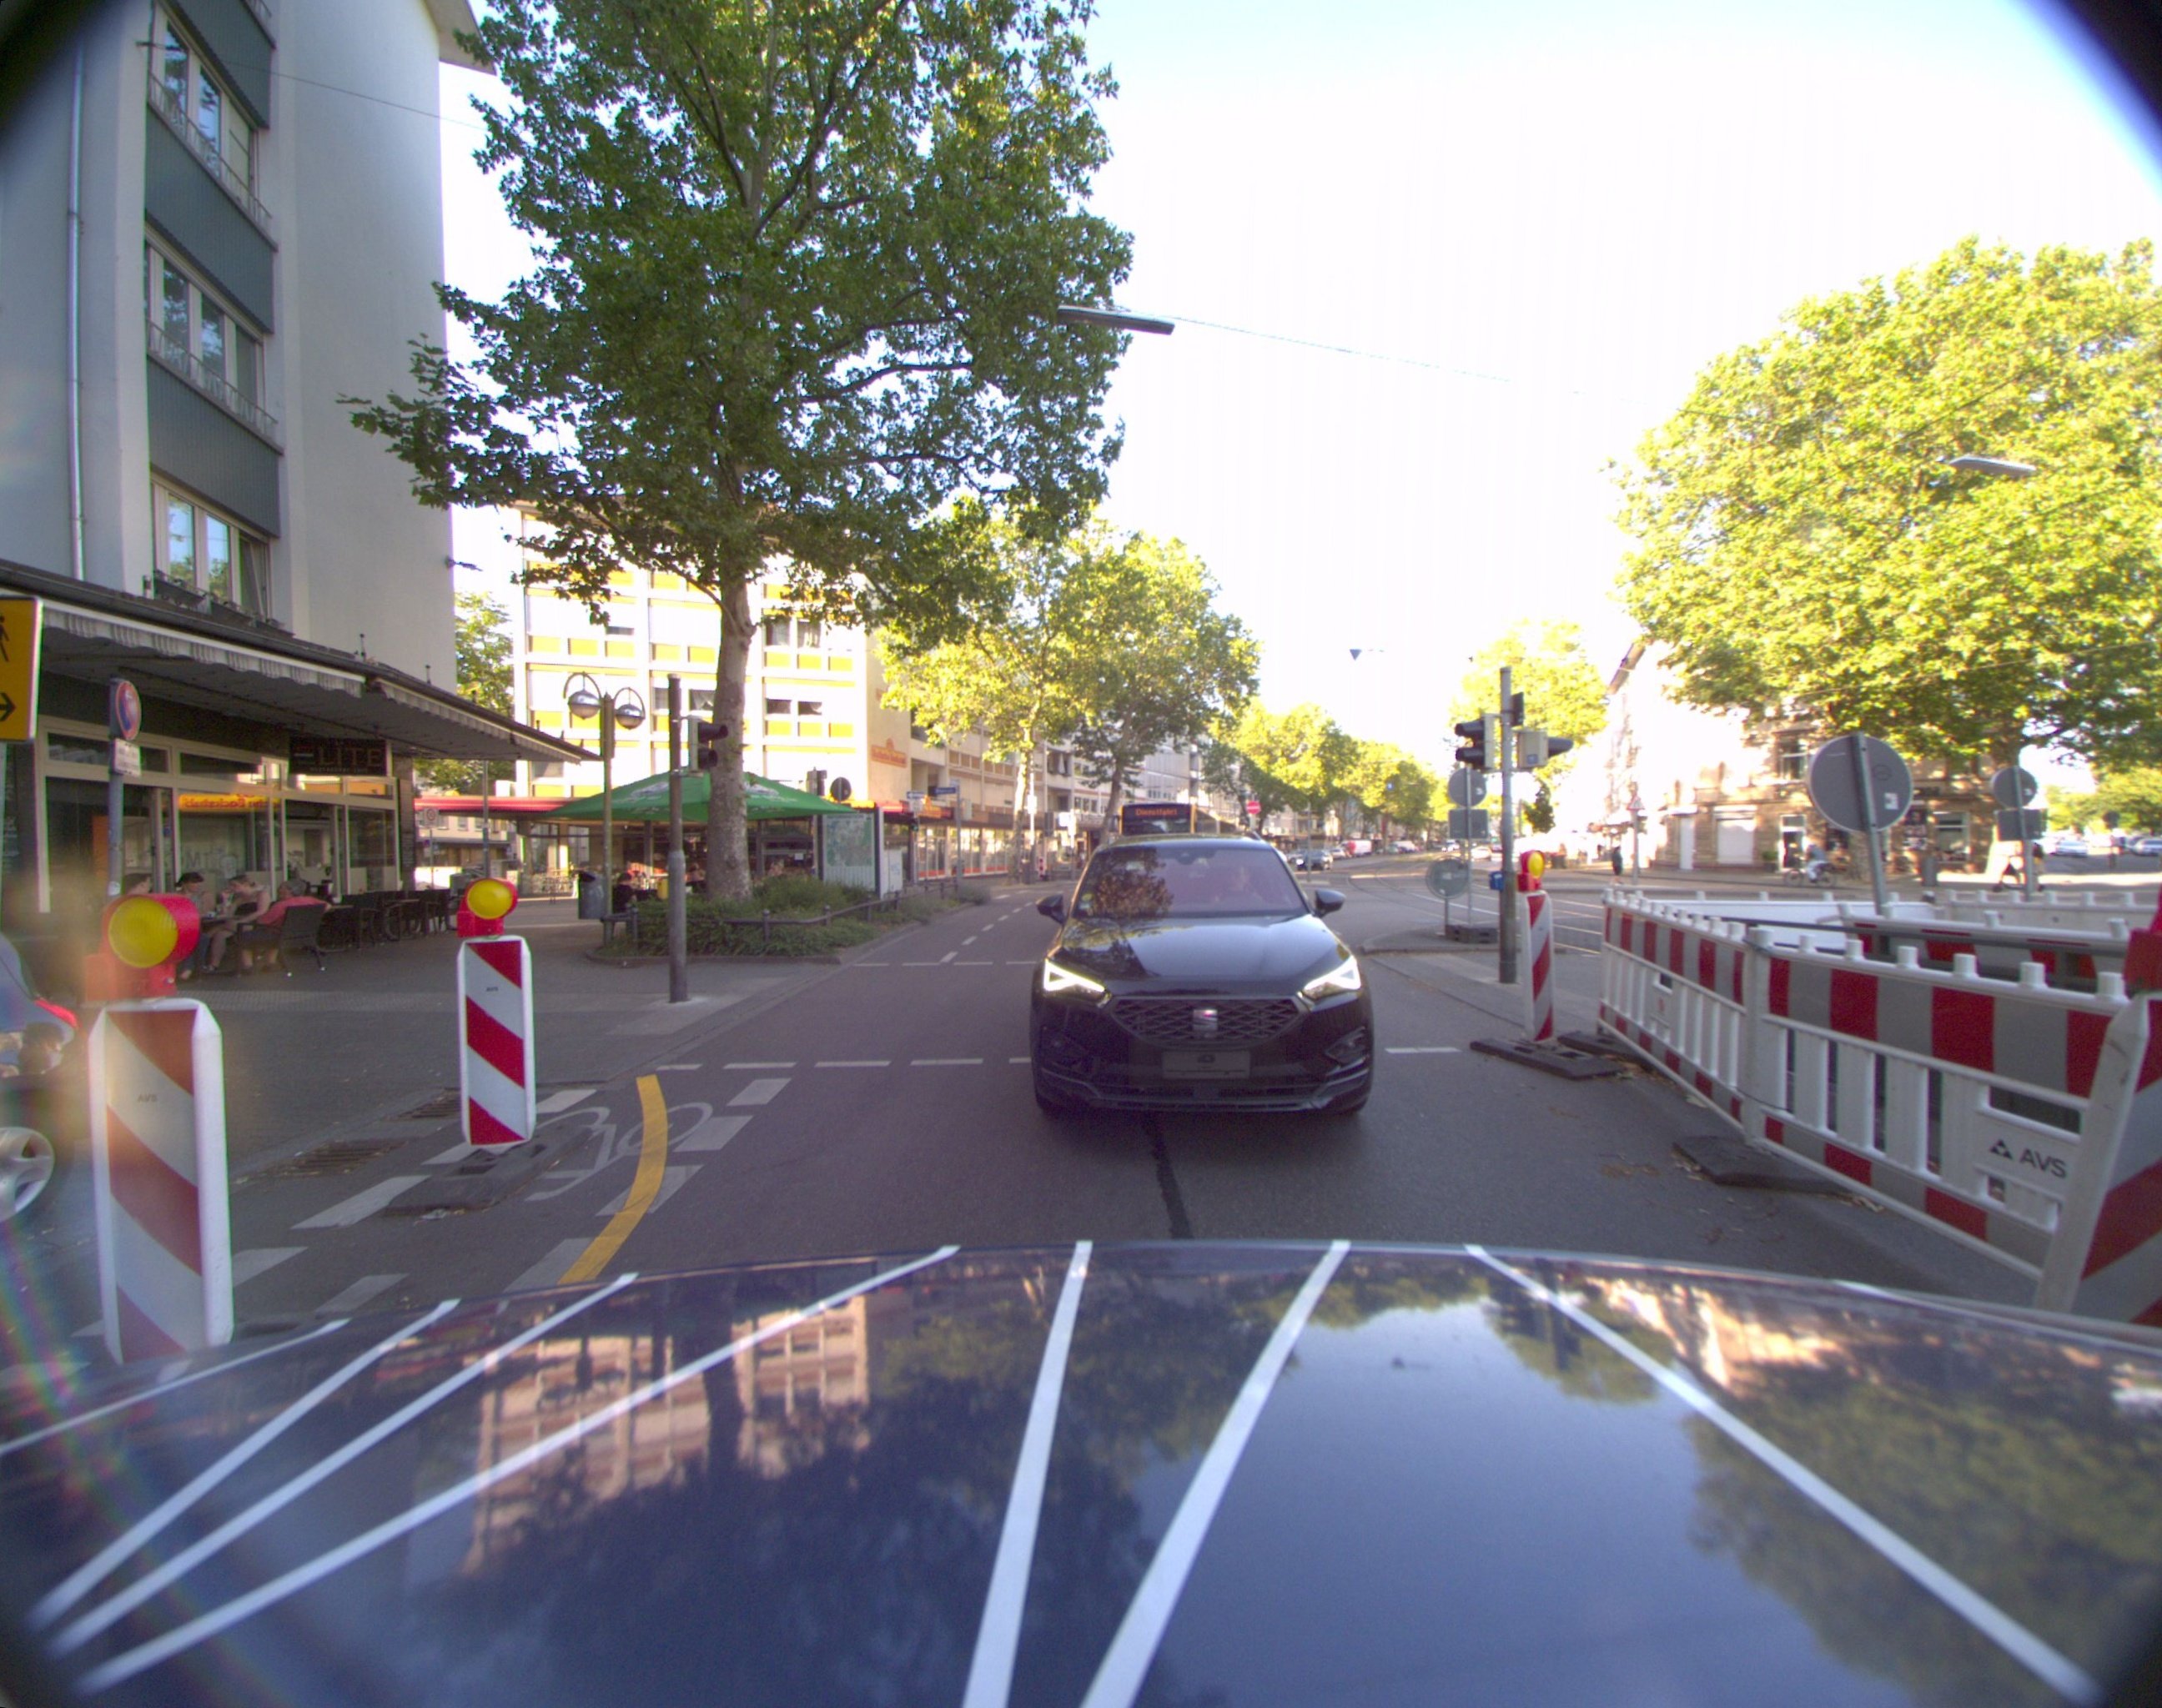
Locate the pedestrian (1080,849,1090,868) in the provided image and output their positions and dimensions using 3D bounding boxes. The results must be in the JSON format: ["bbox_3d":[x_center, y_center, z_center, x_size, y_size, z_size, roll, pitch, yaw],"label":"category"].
[{"bbox_3d":[0.291,0.355,57.811,0.627,1.429,0.532,0,1,20],"label":"pedestrian"}]

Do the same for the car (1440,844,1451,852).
[{"bbox_3d":[81.564,-1.424,170.052,1.836,1.692,4.138,0,1,31],"label":"car"}]

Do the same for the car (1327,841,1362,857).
[{"bbox_3d":[34.073,-0.652,98.336,3.994,2.002,2.001,-1,1,8],"label":"car"}]

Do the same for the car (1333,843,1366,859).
[{"bbox_3d":[36.433,-0.402,103.198,3.994,2.002,2.001,-1,1,8],"label":"car"}]

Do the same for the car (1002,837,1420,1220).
[{"bbox_3d":[0.605,0.761,5.369,1.841,1.696,4.000,-1,1,1],"label":"car"}]

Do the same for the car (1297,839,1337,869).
[{"bbox_3d":[16.546,-0.030,53.217,1.995,2.002,4.007,0,1,27],"label":"car"}]

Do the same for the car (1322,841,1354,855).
[{"bbox_3d":[36.421,-0.833,107.598,3.994,2.002,2.001,-1,1,8],"label":"car"}]

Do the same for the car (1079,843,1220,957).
[{"bbox_3d":[1.010,0.643,12.946,1.998,1.634,4.075,-1,1,1],"label":"car"}]

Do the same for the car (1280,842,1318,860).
[{"bbox_3d":[24.399,-0.359,85.136,3.991,2.002,2.003,0,1,18],"label":"car"}]

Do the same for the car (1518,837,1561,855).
[{"bbox_3d":[52.447,-0.944,86.896,4.001,2.002,1.997,-1,1,-13],"label":"car"}]

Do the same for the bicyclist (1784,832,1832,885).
[{"bbox_3d":[27.614,0.166,28.872,0.855,2.002,0.983,-1,1,0],"label":"bicyclist"}]

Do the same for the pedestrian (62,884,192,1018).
[{"bbox_3d":[-10.142,0.989,8.085,0.789,1.299,0.701,0,1,28],"label":"pedestrian"}]

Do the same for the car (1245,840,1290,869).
[{"bbox_3d":[13.513,0.029,54.891,1.994,2.002,4.008,0,1,33],"label":"car"}]

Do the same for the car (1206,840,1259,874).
[{"bbox_3d":[9.223,0.155,46.011,1.995,2.002,4.105,0,1,29],"label":"car"}]

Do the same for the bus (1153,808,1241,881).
[{"bbox_3d":[5.808,-0.433,36.723,2.717,3.088,8.608,0,1,19],"label":"bus"}]

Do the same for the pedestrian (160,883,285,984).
[{"bbox_3d":[-10.814,0.977,9.599,0.647,1.186,0.792,0,1,7],"label":"pedestrian"}]

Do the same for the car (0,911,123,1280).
[{"bbox_3d":[-5.228,0.991,1.645,1.771,1.459,3.610,2,0,-2],"label":"car"}]

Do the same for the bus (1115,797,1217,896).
[{"bbox_3d":[3.411,-0.286,28.197,2.718,3.088,8.629,0,1,13],"label":"bus"}]

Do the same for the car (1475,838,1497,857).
[{"bbox_3d":[43.179,-0.718,81.050,1.994,2.002,4.007,0,1,29],"label":"car"}]

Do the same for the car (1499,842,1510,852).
[{"bbox_3d":[76.485,-1.298,137.291,1.686,1.841,4.007,0,1,29],"label":"car"}]

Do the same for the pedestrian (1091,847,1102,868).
[{"bbox_3d":[1.183,0.260,57.552,0.627,1.577,0.532,0,1,20],"label":"pedestrian"}]

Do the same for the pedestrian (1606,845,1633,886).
[{"bbox_3d":[20.297,0.437,28.646,0.603,1.524,0.745,0,1,12],"label":"pedestrian"}]

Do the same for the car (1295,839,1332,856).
[{"bbox_3d":[28.343,-0.812,92.626,3.994,2.002,2.001,-1,1,8],"label":"car"}]

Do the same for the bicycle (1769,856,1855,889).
[{"bbox_3d":[27.658,0.677,28.832,0.851,1.186,2.465,-1,1,-1],"label":"bicycle"}]

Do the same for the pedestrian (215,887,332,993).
[{"bbox_3d":[-9.875,1.016,9.304,0.877,1.186,0.701,0,1,24],"label":"pedestrian"}]
